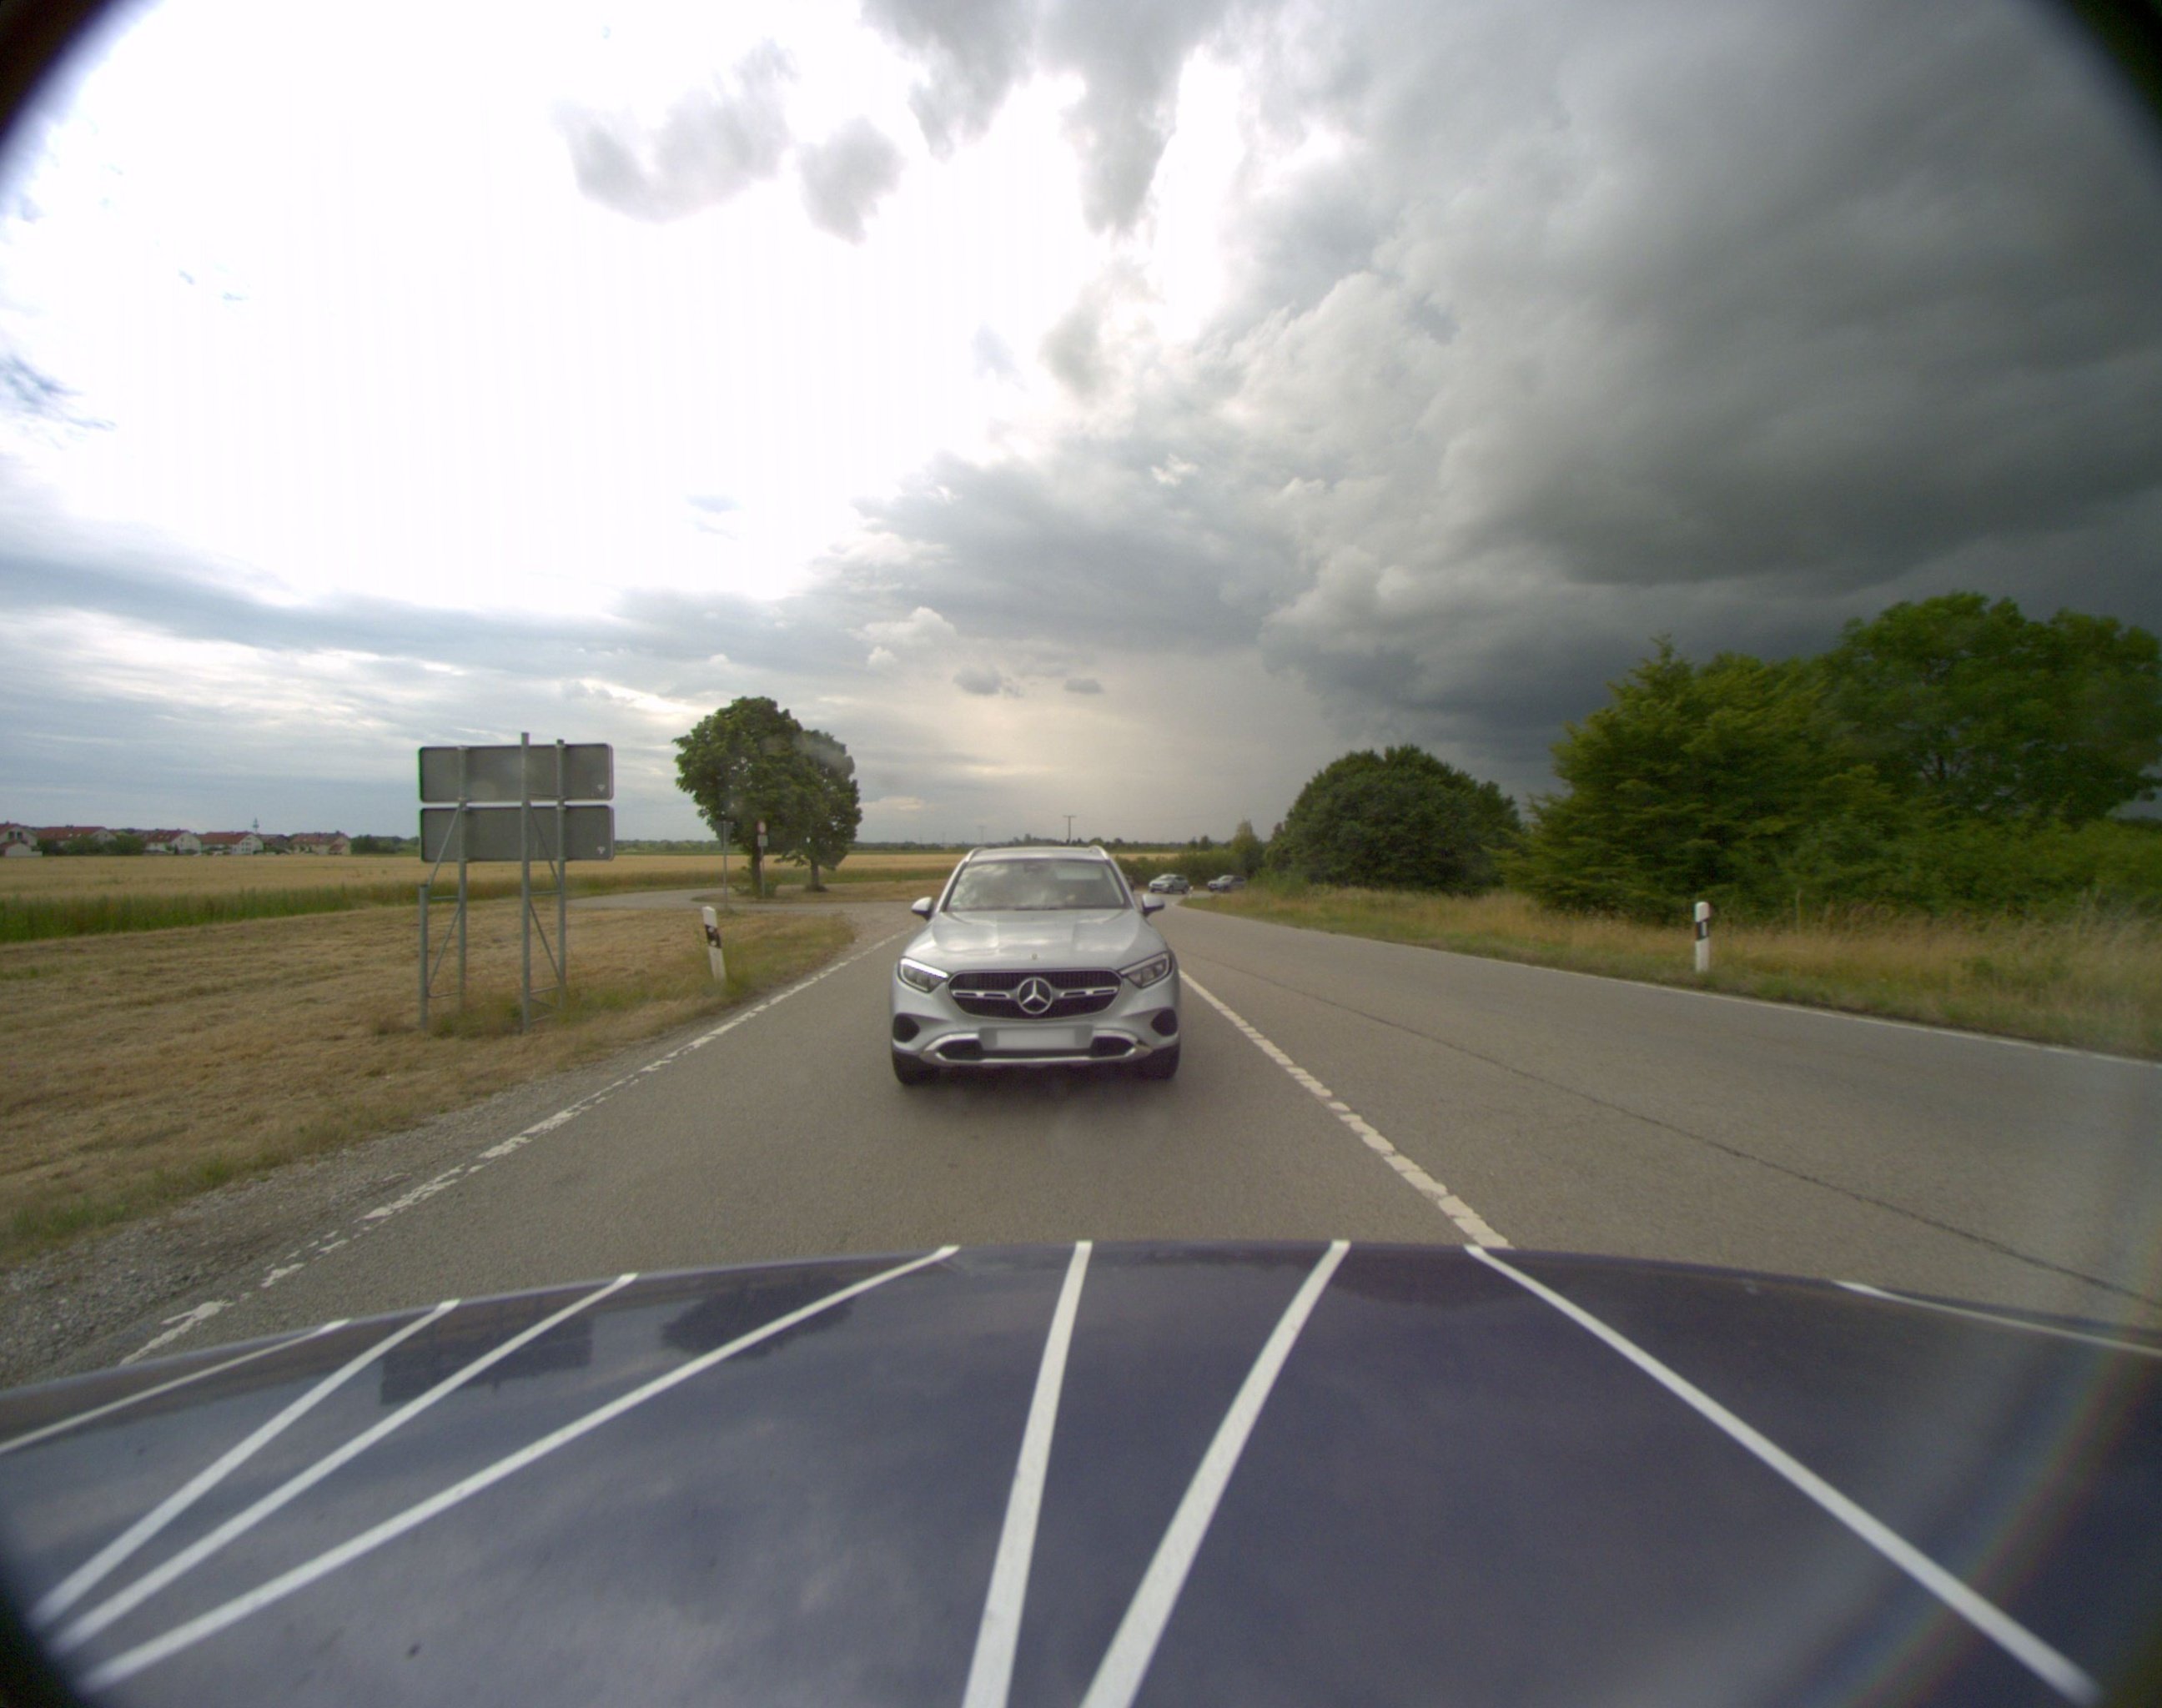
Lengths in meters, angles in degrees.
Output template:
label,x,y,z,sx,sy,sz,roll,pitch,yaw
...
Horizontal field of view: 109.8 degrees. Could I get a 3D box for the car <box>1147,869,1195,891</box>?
label,x,y,z,sx,sy,sz,roll,pitch,yaw
car,7.790,2.295,65.489,1.994,1.709,5.221,3,0,32

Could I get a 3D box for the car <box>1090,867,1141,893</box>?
label,x,y,z,sx,sy,sz,roll,pitch,yaw
car,2.637,1.923,56.812,1.995,1.709,5.219,3,0,24

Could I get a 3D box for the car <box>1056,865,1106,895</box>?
label,x,y,z,sx,sy,sz,roll,pitch,yaw
car,0.072,1.633,48.538,1.996,1.709,5.215,3,0,13

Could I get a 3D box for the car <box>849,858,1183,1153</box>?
label,x,y,z,sx,sy,sz,roll,pitch,yaw
car,-0.427,0.858,6.497,1.837,1.577,4.449,-1,0,-2

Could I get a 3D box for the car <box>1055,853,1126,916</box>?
label,x,y,z,sx,sy,sz,roll,pitch,yaw
car,0.211,0.980,24.920,1.999,1.709,5.209,3,-2,-2

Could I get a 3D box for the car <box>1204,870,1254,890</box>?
label,x,y,z,sx,sy,sz,roll,pitch,yaw
car,14.402,2.523,73.780,5.220,1.710,1.994,0,2,-44

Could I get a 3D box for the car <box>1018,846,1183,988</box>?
label,x,y,z,sx,sy,sz,roll,pitch,yaw
car,0.261,0.816,11.903,1.998,1.709,5.209,1,-1,1
